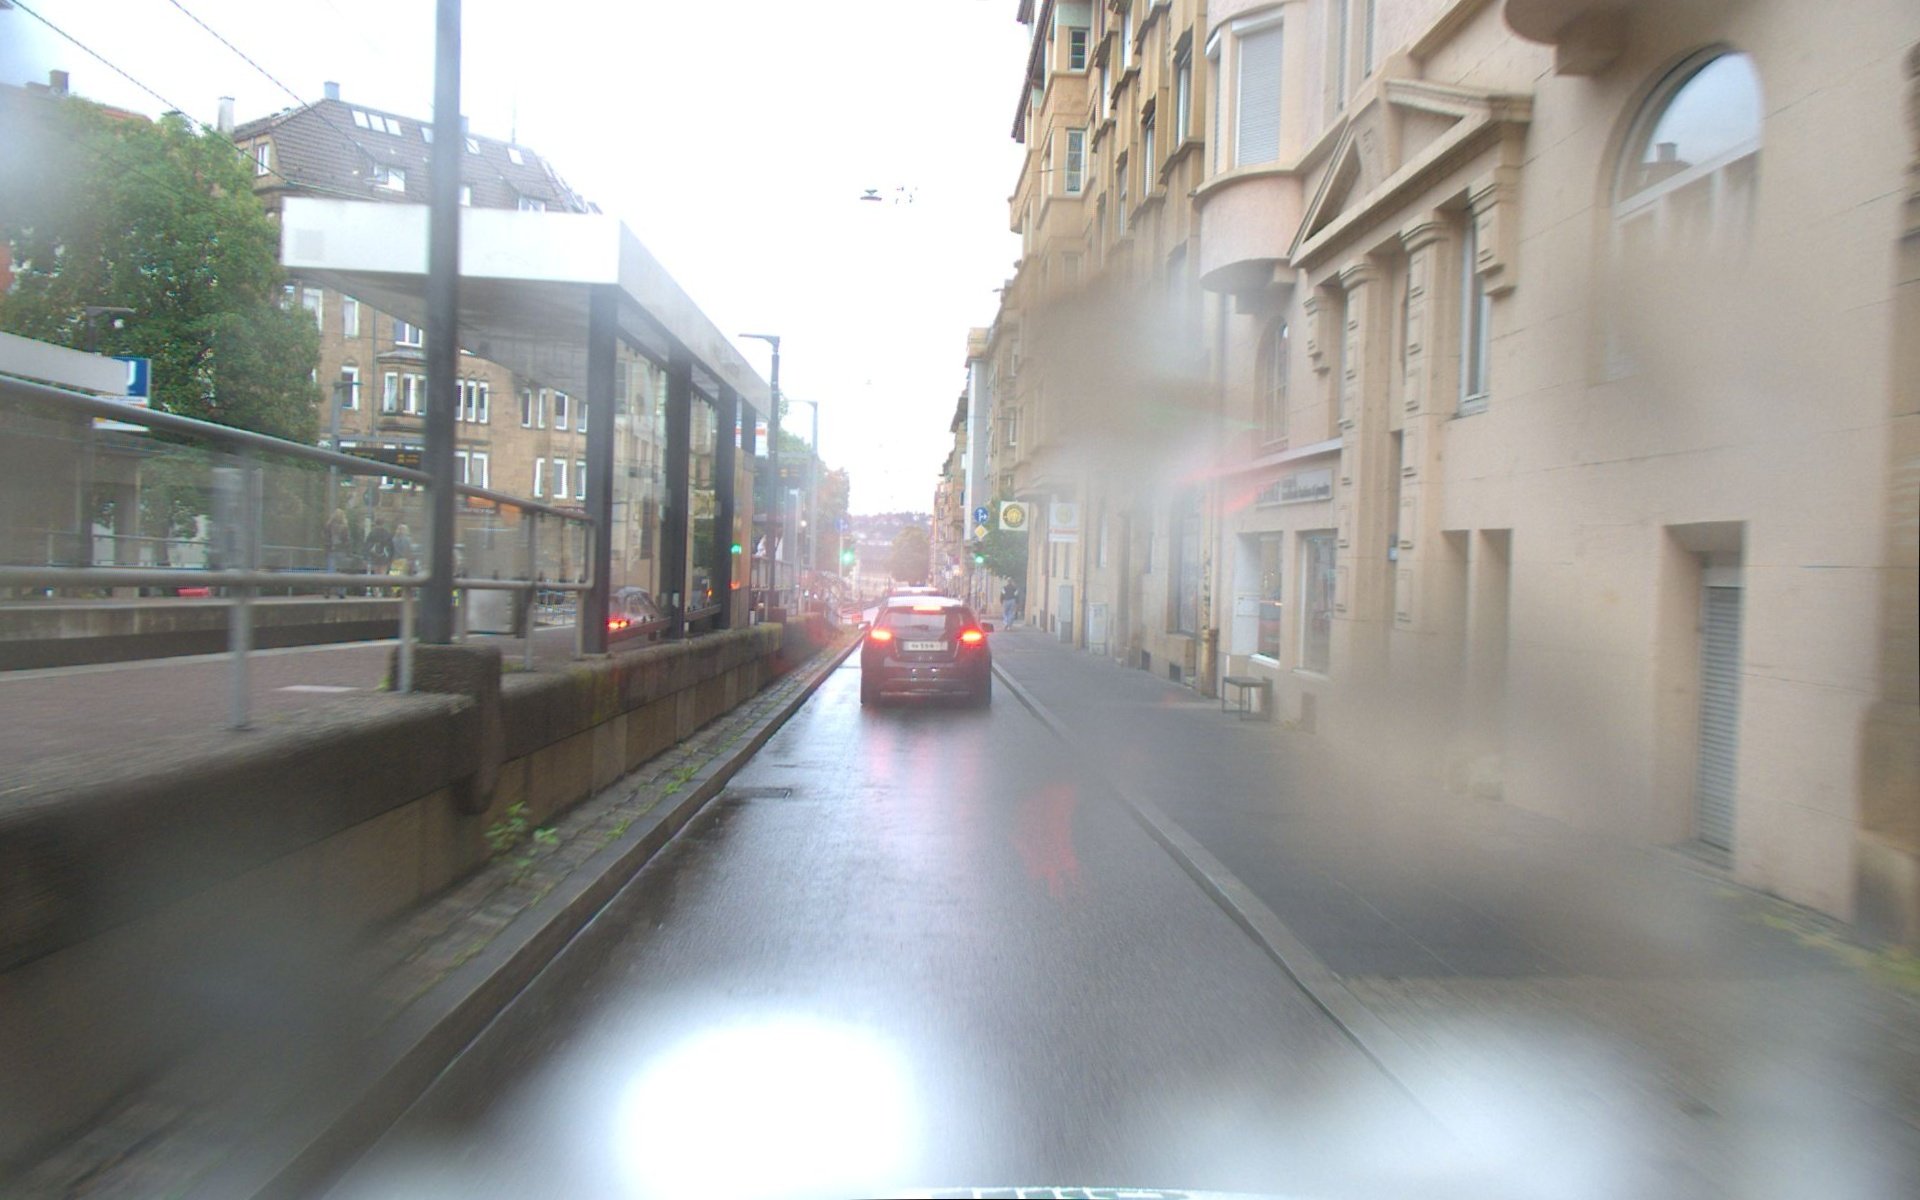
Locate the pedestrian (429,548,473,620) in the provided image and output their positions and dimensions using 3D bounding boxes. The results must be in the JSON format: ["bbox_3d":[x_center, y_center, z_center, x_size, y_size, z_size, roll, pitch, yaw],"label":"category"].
[{"bbox_3d":[-11.777,-0.360,38.293,0.679,1.611,0.956,1,-1,-2],"label":"pedestrian"}]

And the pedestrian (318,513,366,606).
[{"bbox_3d":[-11.720,-0.773,31.393,0.651,1.728,0.688,-1,2,-5],"label":"pedestrian"}]

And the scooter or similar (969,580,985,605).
[{"bbox_3d":[0.867,-0.363,82.908,0.625,1.231,1.551,0,0,-6],"label":"scooter or similar"}]

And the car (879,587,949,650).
[{"bbox_3d":[-1.102,0.428,41.276,1.615,1.477,4.000,1,0,0],"label":"car"}]

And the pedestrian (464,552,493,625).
[{"bbox_3d":[-12.490,-0.292,42.902,0.500,1.850,0.799,1,0,-2],"label":"pedestrian"}]

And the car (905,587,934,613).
[{"bbox_3d":[-2.541,-0.004,103.374,1.730,1.586,4.744,0,0,-2],"label":"car"}]

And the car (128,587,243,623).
[{"bbox_3d":[-31.848,0.196,68.095,1.710,1.427,3.979,0,0,40],"label":"car"}]

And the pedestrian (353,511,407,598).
[{"bbox_3d":[-11.941,-0.928,34.071,0.729,1.726,0.882,3,-1,-1],"label":"pedestrian"}]

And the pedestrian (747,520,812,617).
[{"bbox_3d":[-3.441,-0.593,31.627,1.091,1.805,1.111,1,0,-2],"label":"pedestrian"}]

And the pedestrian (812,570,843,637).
[{"bbox_3d":[-4.135,0.108,51.739,0.879,2.049,0.947,1,0,-2],"label":"pedestrian"}]

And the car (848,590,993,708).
[{"bbox_3d":[-0.503,0.615,23.165,1.828,1.477,4.000,1,0,0],"label":"car"}]

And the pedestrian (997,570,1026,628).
[{"bbox_3d":[1.736,-0.030,55.358,0.881,1.872,0.969,-3,0,3],"label":"pedestrian"}]

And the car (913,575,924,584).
[{"bbox_3d":[-6.376,-3.161,254.515,1.581,1.340,3.999,2,0,-2],"label":"car"}]

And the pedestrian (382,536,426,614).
[{"bbox_3d":[-12.090,-0.547,36.002,0.729,1.676,0.640,-1,0,-2],"label":"pedestrian"}]

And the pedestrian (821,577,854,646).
[{"bbox_3d":[-3.722,0.342,50.333,0.907,2.049,0.947,1,0,-2],"label":"pedestrian"}]
